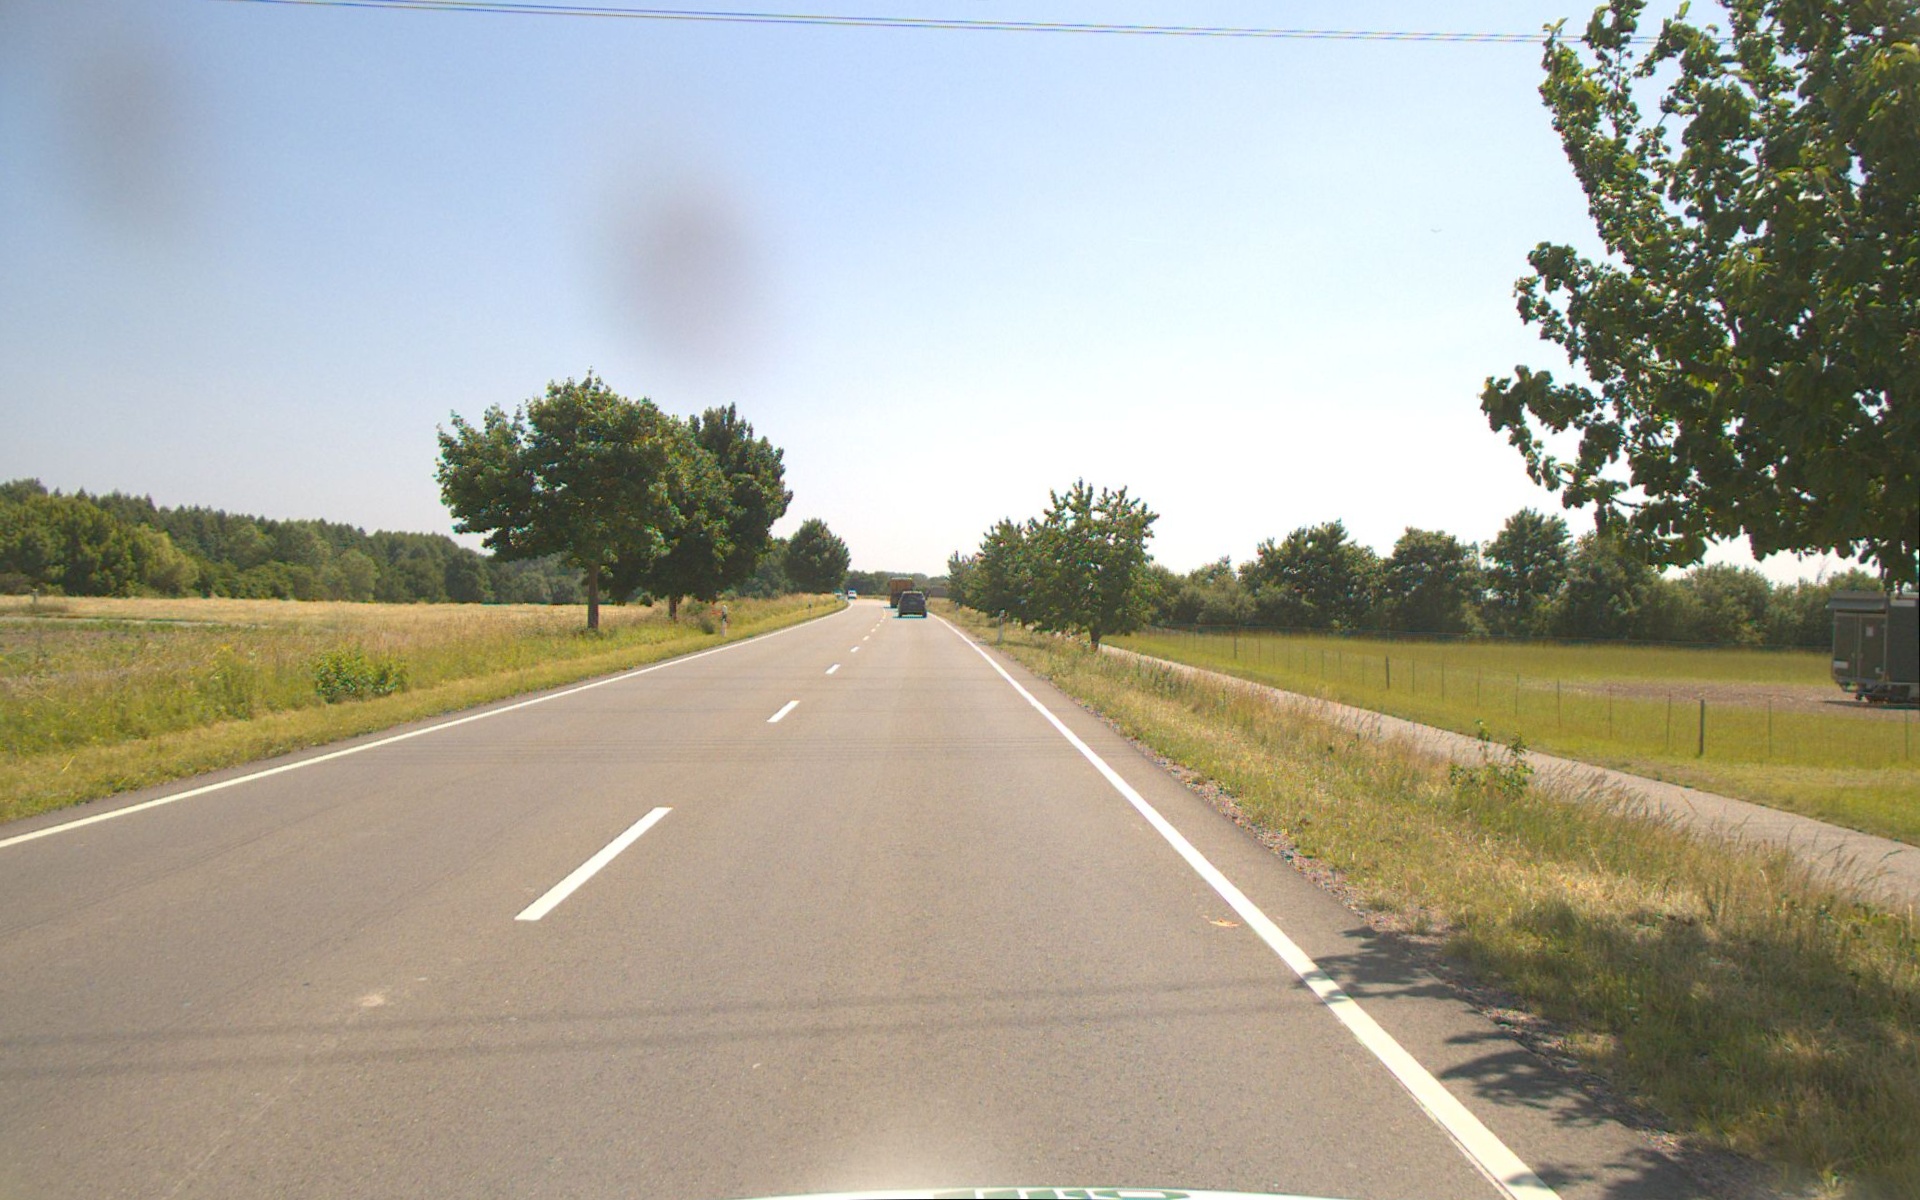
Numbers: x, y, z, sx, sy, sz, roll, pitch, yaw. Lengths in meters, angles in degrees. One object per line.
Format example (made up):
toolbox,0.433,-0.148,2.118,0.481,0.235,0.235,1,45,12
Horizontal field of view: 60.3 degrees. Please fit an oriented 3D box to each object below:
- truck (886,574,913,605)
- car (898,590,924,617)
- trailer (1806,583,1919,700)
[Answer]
truck,-6.543,-1.039,176.914,2.325,3.195,8.737,1,0,-5
car,-3.209,0.212,108.576,1.680,1.723,3.987,1,0,-2
trailer,33.991,1.436,52.727,12.163,3.533,3.803,2,0,-3
